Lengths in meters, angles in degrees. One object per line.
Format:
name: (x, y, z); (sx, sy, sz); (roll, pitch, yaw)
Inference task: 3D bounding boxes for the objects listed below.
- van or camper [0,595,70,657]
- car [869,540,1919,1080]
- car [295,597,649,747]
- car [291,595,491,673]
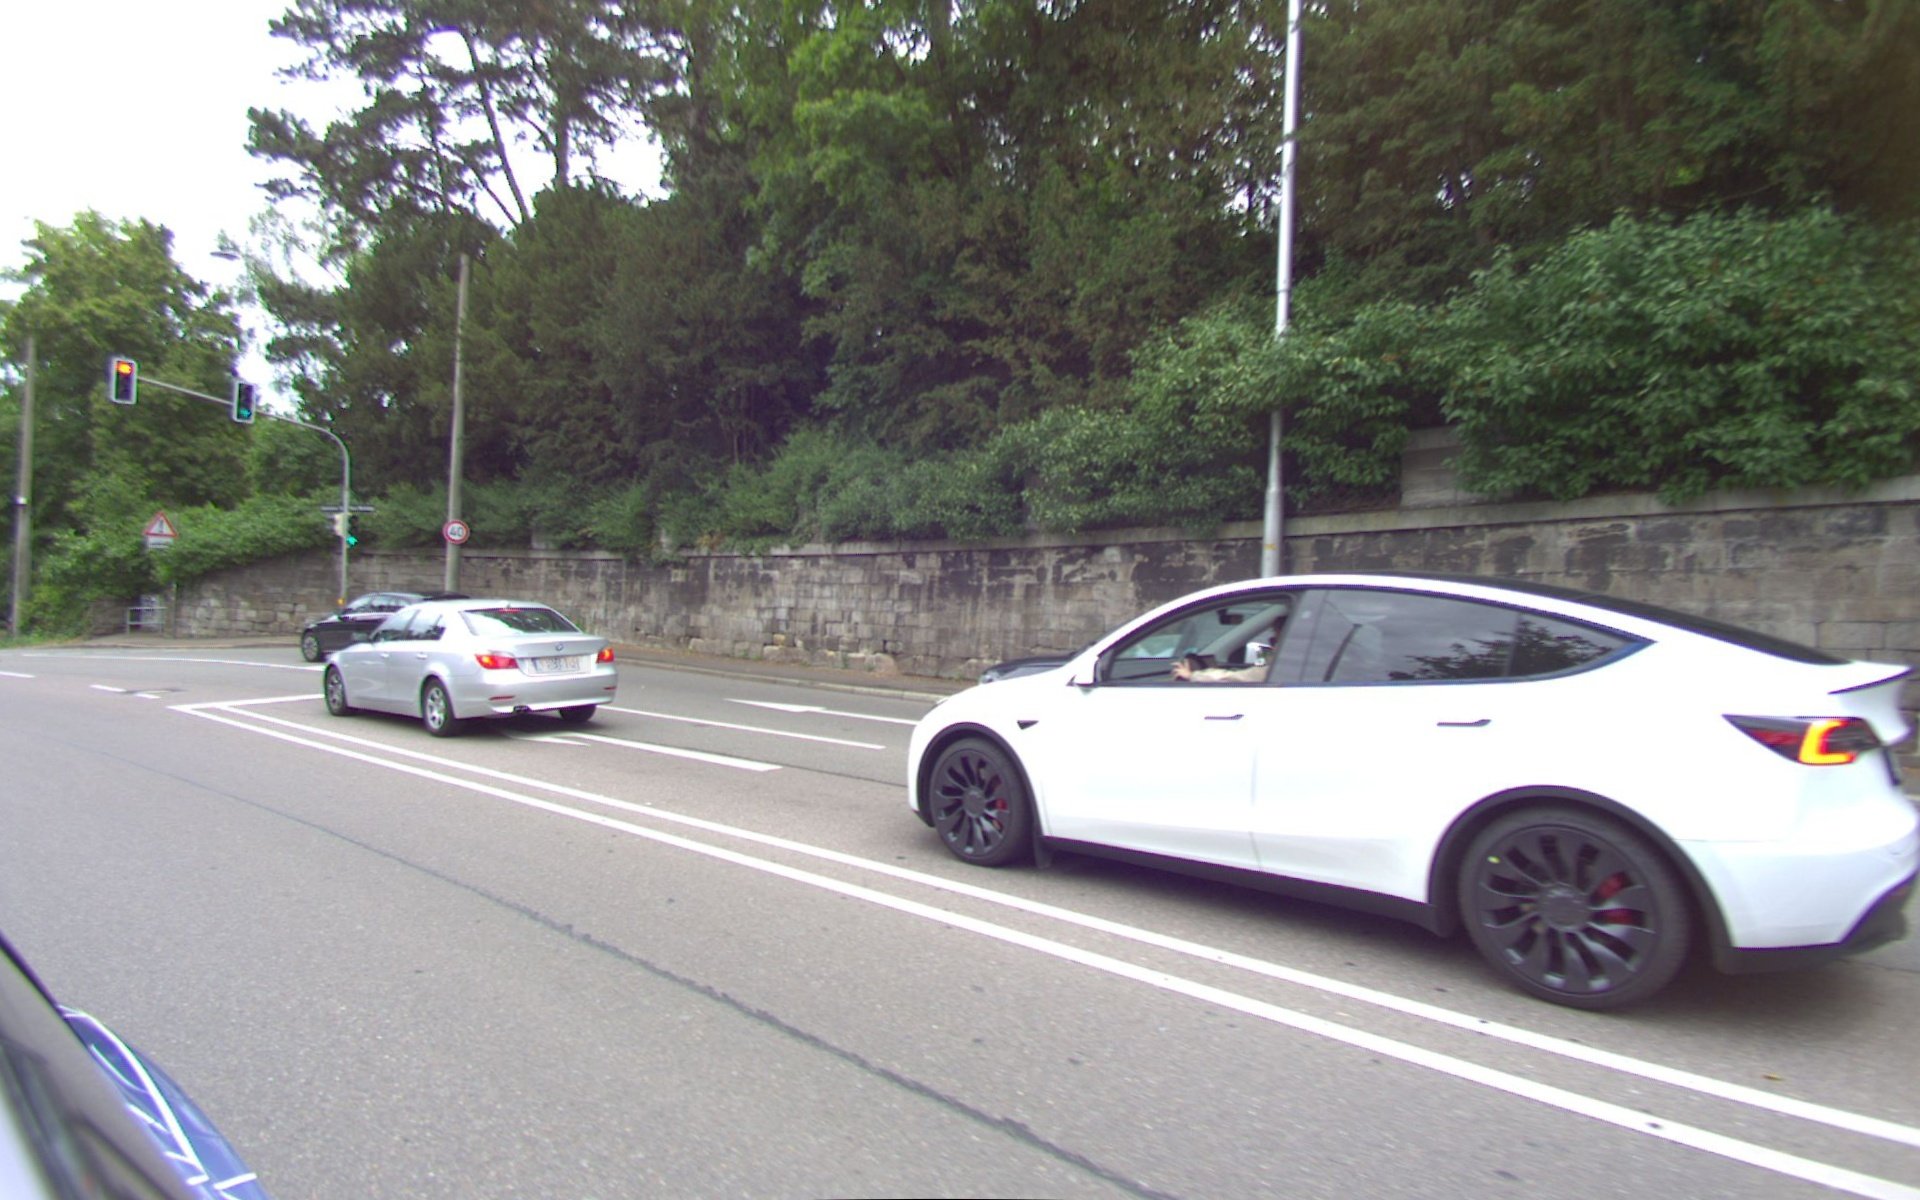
van or camper: (-43.883, 1.279, 46.802); (2.171, 2.566, 5.374); (1, -5, -20)
car: (1.833, 0.636, 5.040); (4.788, 1.566, 1.818); (-1, -1, 42)
car: (-6.087, 0.759, 12.351); (4.872, 1.481, 1.974); (-1, -2, 39)
car: (-11.673, 0.656, 20.736); (4.032, 1.463, 1.722); (-1, 0, 29)
